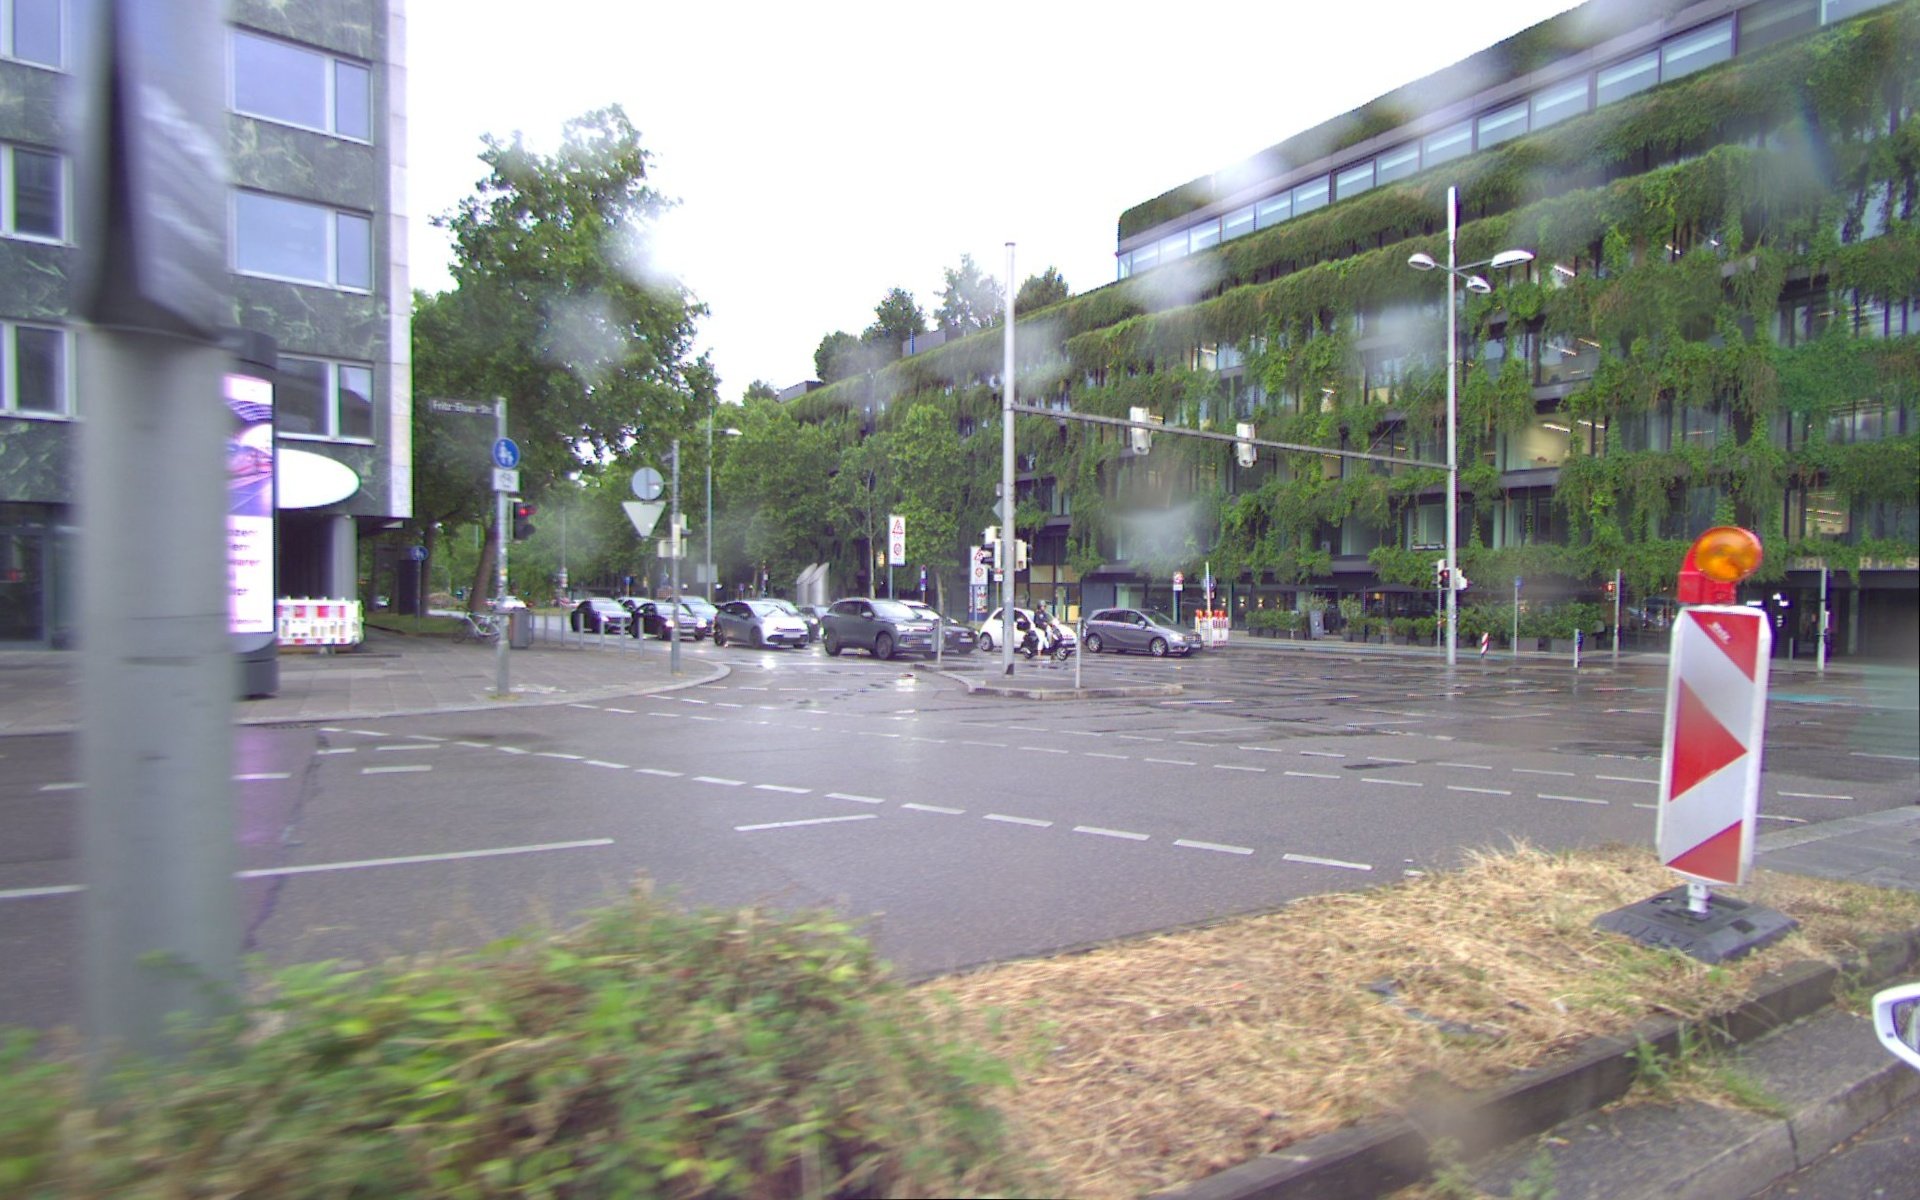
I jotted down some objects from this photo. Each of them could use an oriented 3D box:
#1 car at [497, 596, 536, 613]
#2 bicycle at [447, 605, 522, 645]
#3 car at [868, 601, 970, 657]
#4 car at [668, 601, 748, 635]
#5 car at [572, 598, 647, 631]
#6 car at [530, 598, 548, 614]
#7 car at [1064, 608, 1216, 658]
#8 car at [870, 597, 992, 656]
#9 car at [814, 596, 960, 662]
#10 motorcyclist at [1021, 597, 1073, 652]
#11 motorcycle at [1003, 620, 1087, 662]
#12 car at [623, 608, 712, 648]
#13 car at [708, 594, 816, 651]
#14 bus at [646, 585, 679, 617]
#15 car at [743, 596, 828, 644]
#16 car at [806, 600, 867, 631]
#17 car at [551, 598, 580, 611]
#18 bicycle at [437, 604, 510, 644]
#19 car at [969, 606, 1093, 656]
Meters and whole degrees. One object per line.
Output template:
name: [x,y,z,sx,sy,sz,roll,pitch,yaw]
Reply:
car: [-40.689,0.376,92.156,1.919,1.508,4.849,1,-1,-41]
bicycle: [-12.896,0.688,27.276,1.765,1.066,0.581,2,0,-35]
car: [-1.606,1.030,37.400,1.978,1.923,4.139,1,0,-32]
car: [-11.266,0.783,44.664,1.982,1.389,4.131,1,-1,-37]
car: [-15.625,0.623,44.679,1.982,1.389,4.131,1,-1,-37]
car: [-57.754,0.791,137.821,1.975,2.040,3.972,2,0,-27]
car: [6.022,1.086,34.043,4.842,1.508,1.922,1,-1,45]
car: [-0.981,0.810,32.174,1.981,1.773,3.958,1,0,-37]
car: [-2.169,0.783,28.757,1.984,1.709,4.314,1,-1,-41]
motorcyclist: [2.480,0.690,28.677,1.153,1.492,0.832,2,0,40]
motorcycle: [2.409,1.158,28.727,2.331,1.068,0.830,2,0,41]
car: [-11.496,1.066,39.265,1.982,1.389,4.131,1,-1,-37]
car: [-6.671,0.705,33.627,1.982,1.773,3.956,1,-1,-38]
bus: [-32.578,0.045,109.888,1.783,3.385,5.922,2,0,-34]
car: [-6.885,0.753,39.309,1.841,1.791,4.139,1,0,-32]
car: [-7.208,0.891,58.470,1.834,1.692,3.958,2,-1,-37]
car: [-48.881,0.548,124.409,1.919,1.508,4.849,1,-1,-41]
bicycle: [-13.574,0.671,28.054,1.765,1.066,0.581,2,0,-35]
car: [2.276,0.982,33.100,1.981,1.494,3.958,1,-1,-37]
